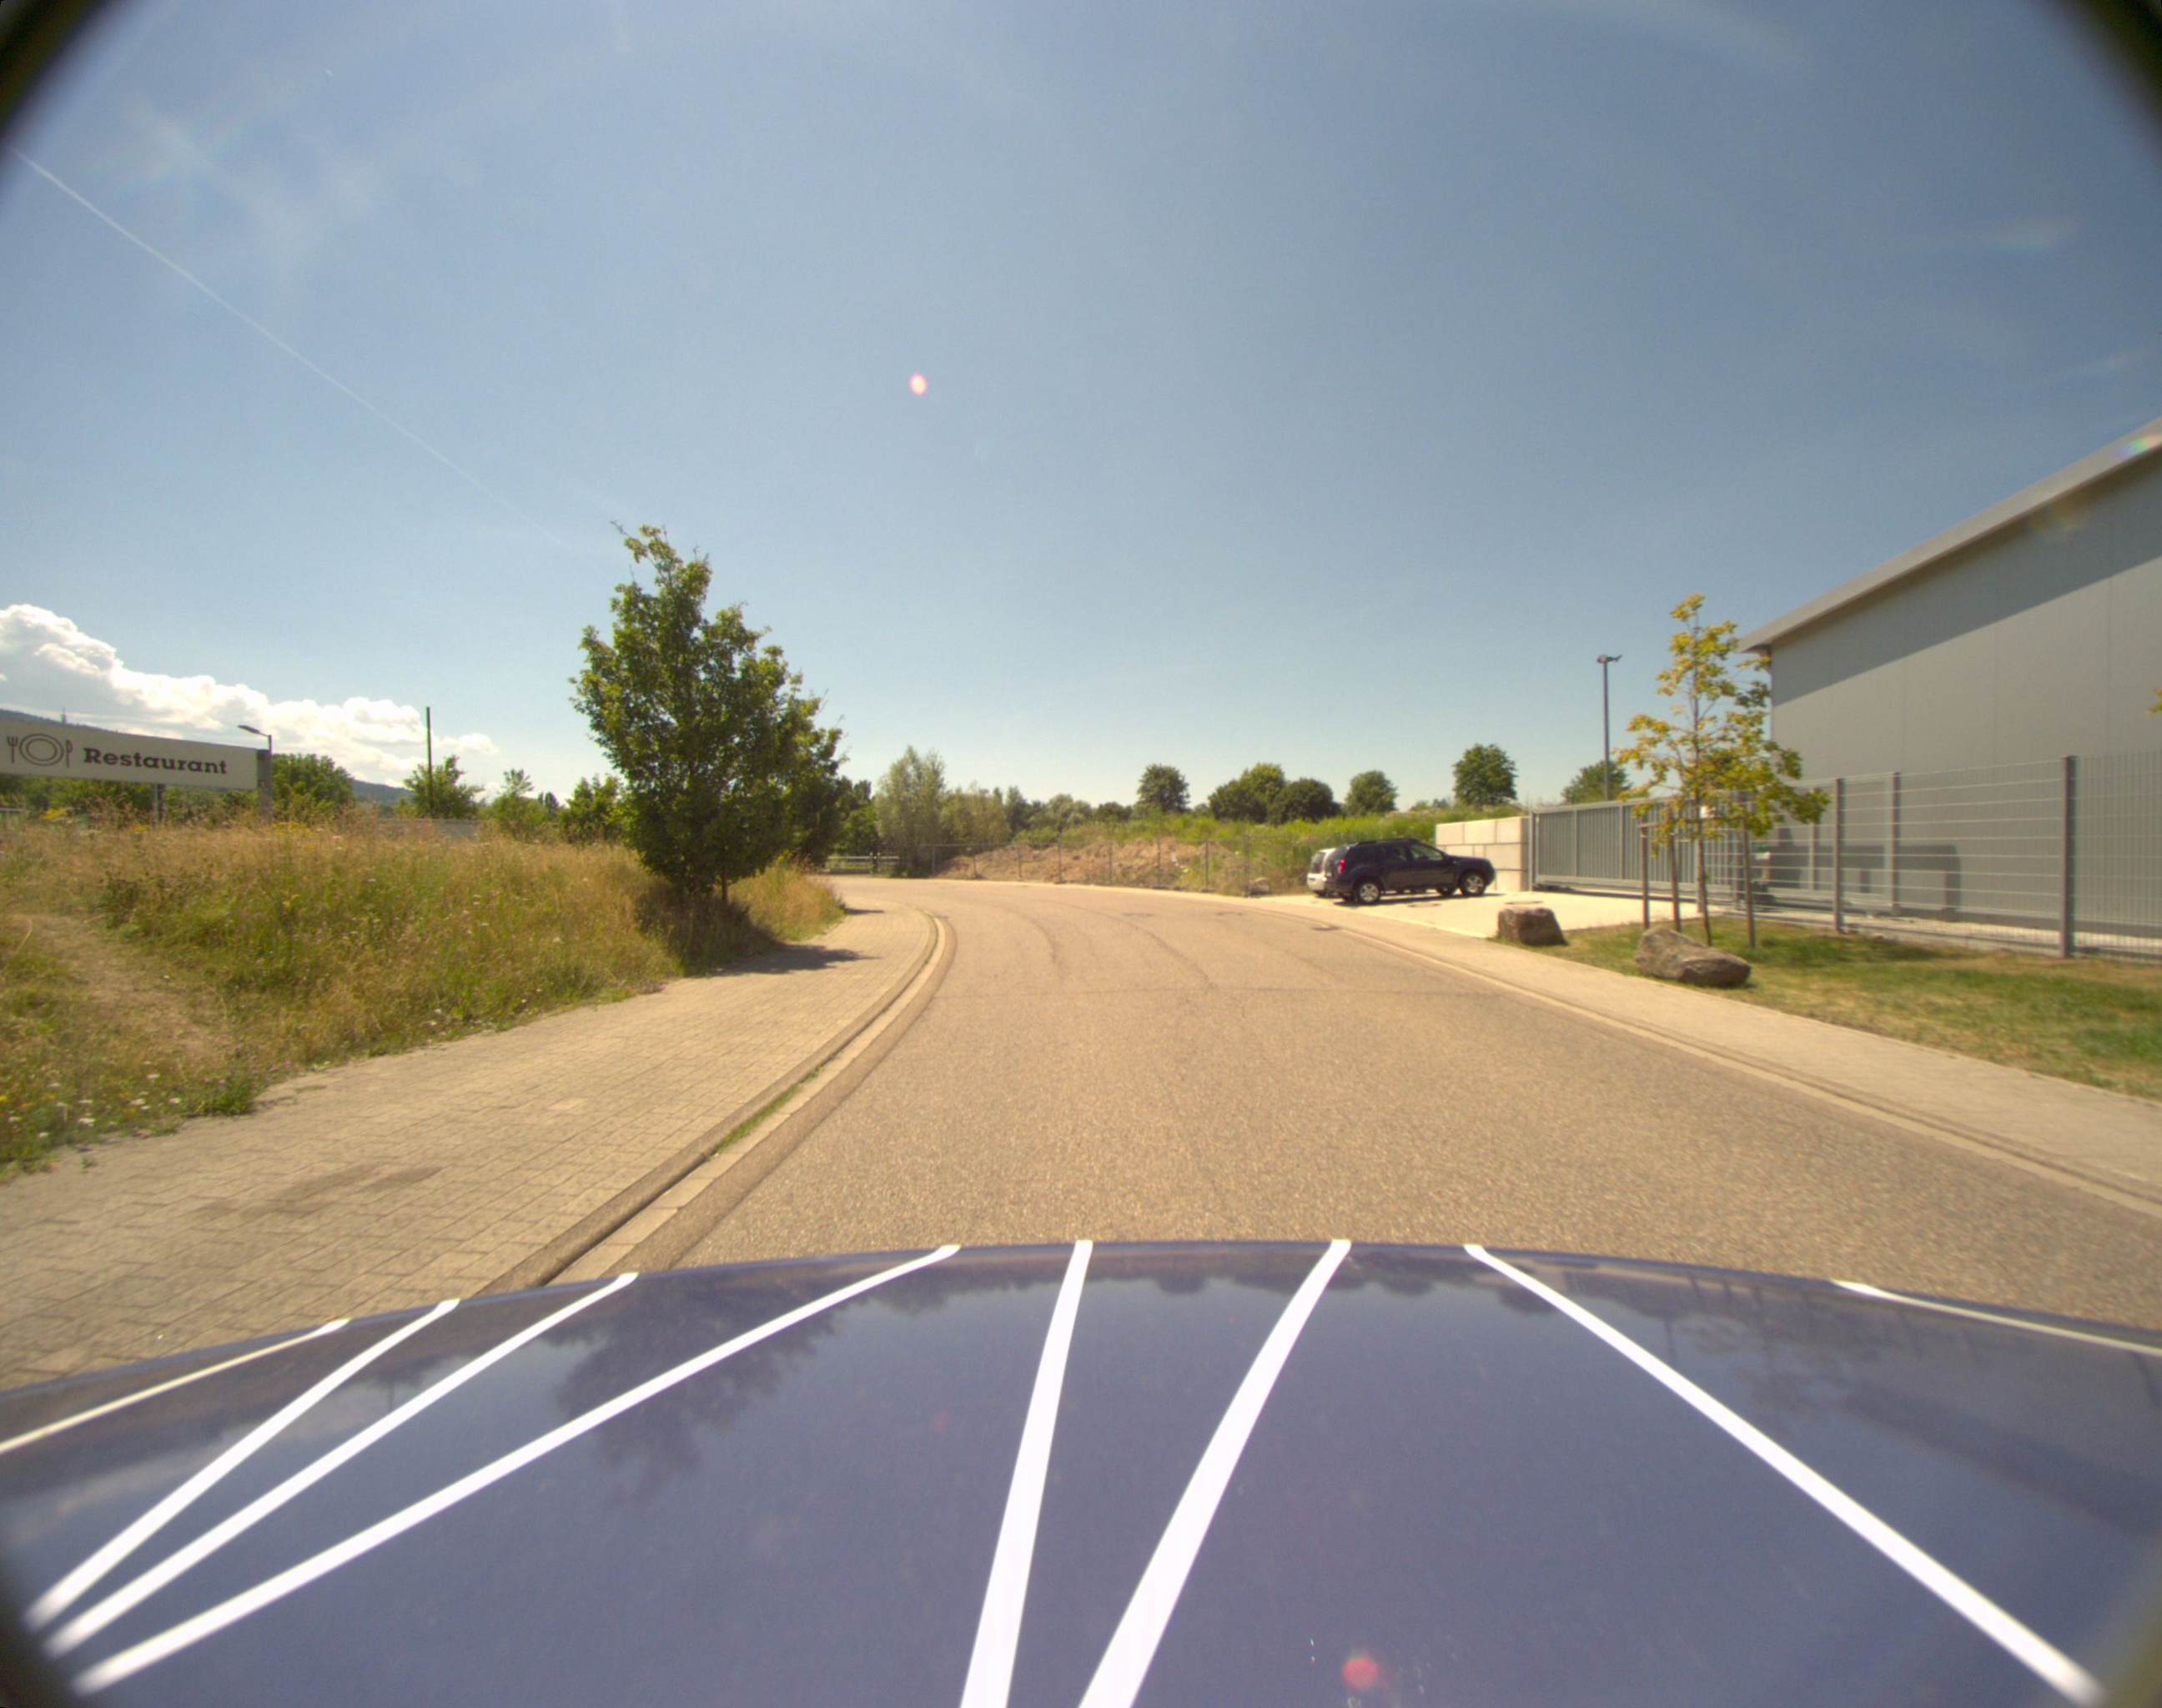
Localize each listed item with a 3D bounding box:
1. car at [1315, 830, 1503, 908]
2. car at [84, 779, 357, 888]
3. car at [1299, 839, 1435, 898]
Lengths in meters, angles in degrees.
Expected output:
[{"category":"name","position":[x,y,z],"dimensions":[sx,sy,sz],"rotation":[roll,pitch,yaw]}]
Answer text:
[{"category":"car","position":[8.623,0.369,20.261],"dimensions":[4.172,1.649,1.782],"rotation":[-5,1,3]},{"category":"car","position":[-23.904,-0.568,21.467],"dimensions":[1.997,2.727,4.753],"rotation":[1,1,8]},{"category":"car","position":[8.581,0.414,23.032],"dimensions":[3.369,1.453,1.781],"rotation":[-5,1,1]}]
